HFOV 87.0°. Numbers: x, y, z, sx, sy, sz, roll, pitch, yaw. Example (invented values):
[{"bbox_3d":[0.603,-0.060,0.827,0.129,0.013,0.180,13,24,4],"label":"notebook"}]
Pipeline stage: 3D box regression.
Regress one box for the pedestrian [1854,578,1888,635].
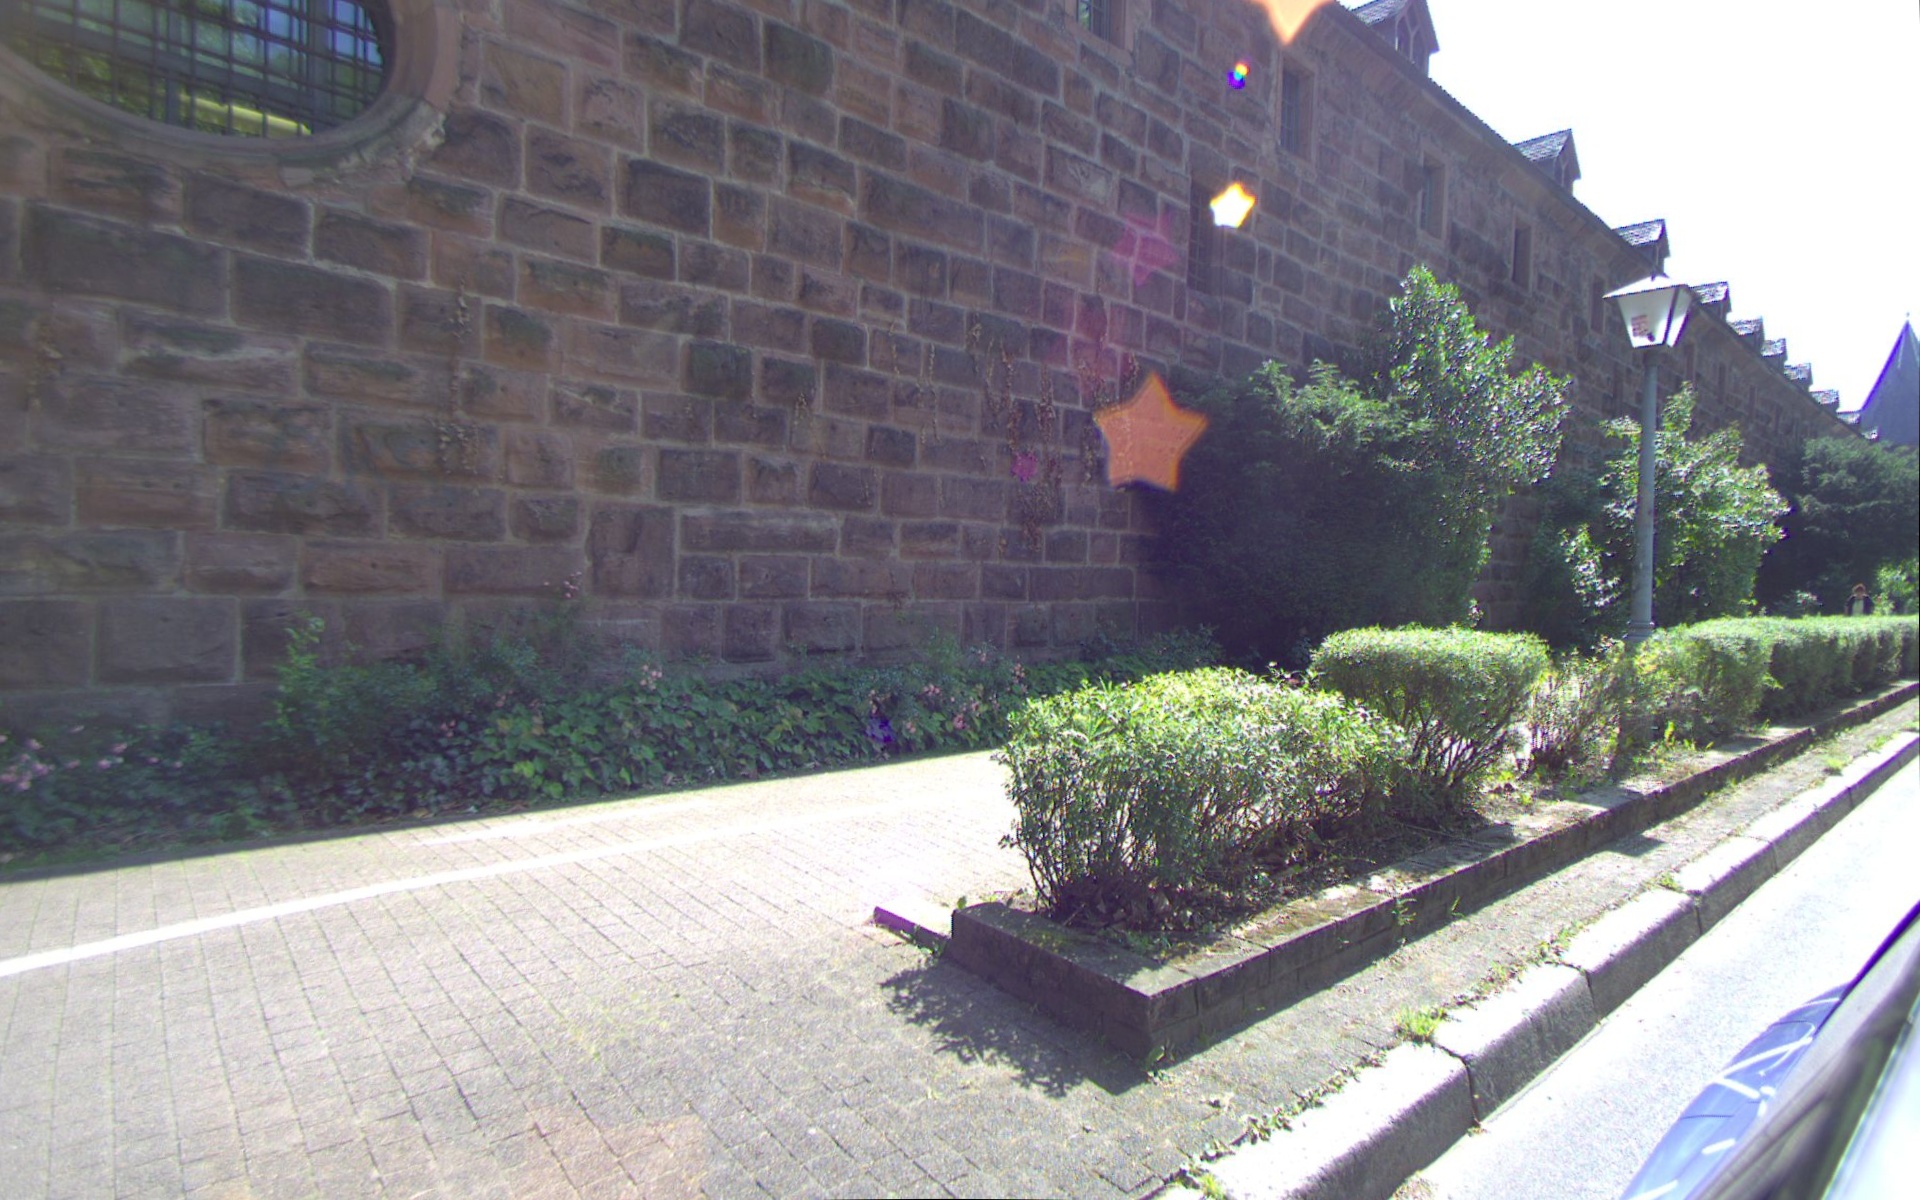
[{"bbox_3d":[25.612,0.177,28.441,0.554,1.583,0.642,0,0,-41],"label":"pedestrian"}]
